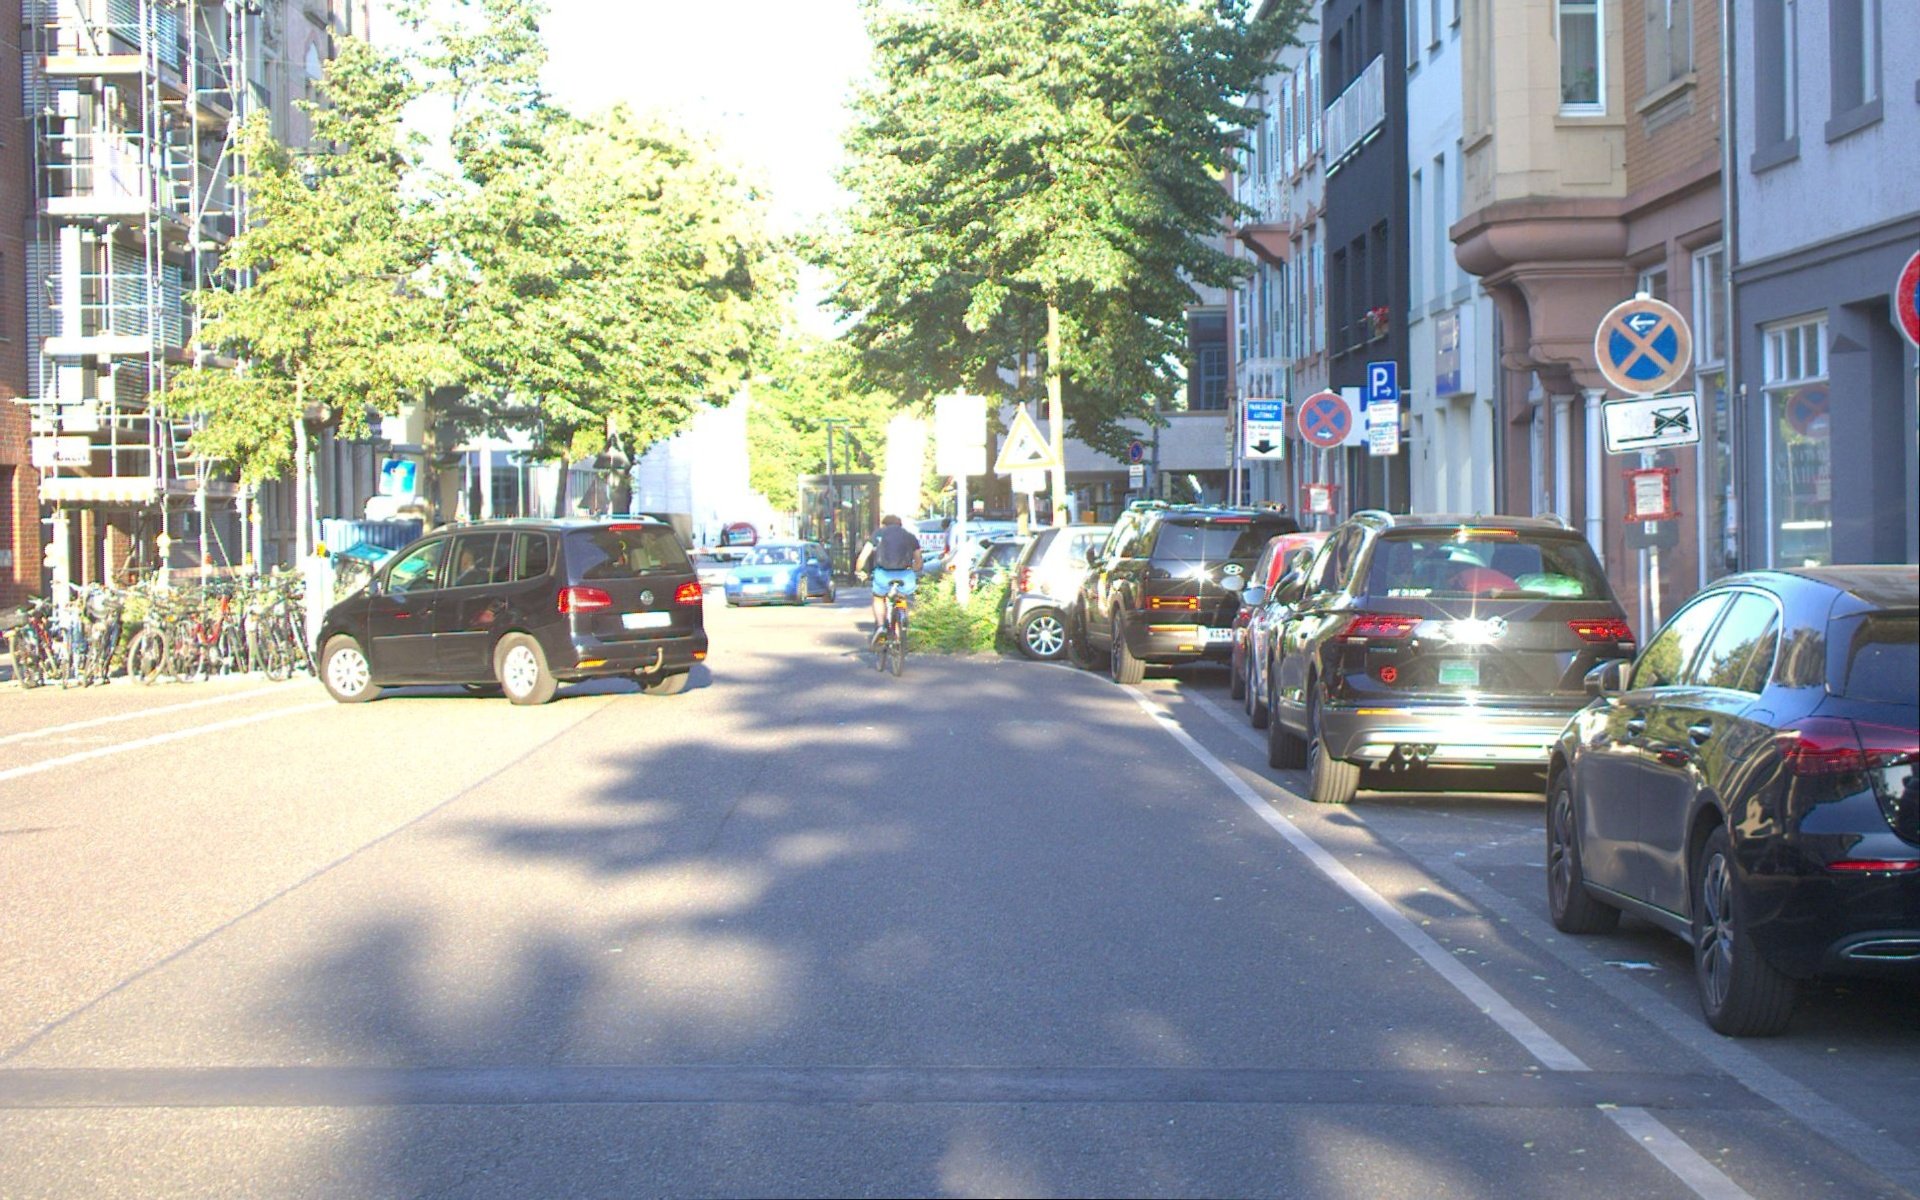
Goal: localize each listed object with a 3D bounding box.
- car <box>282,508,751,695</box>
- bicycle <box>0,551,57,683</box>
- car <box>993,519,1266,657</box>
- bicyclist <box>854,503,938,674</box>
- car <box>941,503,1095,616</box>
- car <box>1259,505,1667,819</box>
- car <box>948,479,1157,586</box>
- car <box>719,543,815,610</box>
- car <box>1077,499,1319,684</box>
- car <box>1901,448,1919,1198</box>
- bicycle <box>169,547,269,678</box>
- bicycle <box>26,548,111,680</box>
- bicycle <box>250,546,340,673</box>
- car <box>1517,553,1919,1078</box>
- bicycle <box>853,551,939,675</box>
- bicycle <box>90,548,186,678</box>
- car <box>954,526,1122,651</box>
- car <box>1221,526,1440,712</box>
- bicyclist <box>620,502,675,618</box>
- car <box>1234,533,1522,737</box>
[{"bbox_3d":[-4.136,0.047,31.547,1.994,1.596,4.507,0,-1,-43],"label":"car"},{"bbox_3d":[-10.517,0.160,37.965,0.721,1.391,3.154,1,1,-9],"label":"bicycle"},{"bbox_3d":[1.925,-0.148,39.592,2.968,1.531,1.434,1,1,-4],"label":"car"},{"bbox_3d":[-0.653,-0.124,34.782,0.780,1.690,1.007,-1,1,-3],"label":"bicyclist"},{"bbox_3d":[0.994,-0.739,61.818,2.265,1.760,4.510,5,1,-4],"label":"car"},{"bbox_3d":[2.880,0.302,20.534,1.812,1.662,4.206,1,1,0],"label":"car"},{"bbox_3d":[1.838,-1.328,67.176,3.987,2.007,2.000,-1,1,4],"label":"car"},{"bbox_3d":[-4.299,-0.545,76.955,1.838,1.436,4.332,1,1,1],"label":"car"},{"bbox_3d":[2.279,-0.111,34.026,1.824,1.689,4.369,1,1,-3],"label":"car"},{"bbox_3d":[3.268,0.565,5.639,1.883,1.748,5.059,1,1,-2],"label":"car"},{"bbox_3d":[-8.241,0.106,38.337,0.892,1.391,3.167,0,1,-9],"label":"bicycle"},{"bbox_3d":[-9.848,0.125,38.071,0.584,1.391,3.162,1,1,-9],"label":"bicycle"},{"bbox_3d":[-7.418,0.071,38.461,0.844,1.346,3.188,-1,1,-9],"label":"bicycle"},{"bbox_3d":[3.155,0.589,11.884,1.762,1.478,4.307,1,1,0],"label":"car"},{"bbox_3d":[-0.662,0.116,34.888,0.780,1.200,2.021,-1,1,-3],"label":"bicycle"},{"bbox_3d":[-9.110,0.115,38.197,0.780,1.368,3.143,1,1,-9],"label":"bicycle"},{"bbox_3d":[1.044,-0.188,48.512,1.993,1.662,4.510,1,1,-3],"label":"car"},{"bbox_3d":[3.111,0.132,29.355,1.587,1.478,3.266,1,1,2],"label":"car"},{"bbox_3d":[-4.999,-0.641,55.028,0.780,1.823,1.007,-1,1,-3],"label":"bicyclist"},{"bbox_3d":[3.009,0.210,25.408,1.666,1.373,3.803,1,1,0],"label":"car"}]
